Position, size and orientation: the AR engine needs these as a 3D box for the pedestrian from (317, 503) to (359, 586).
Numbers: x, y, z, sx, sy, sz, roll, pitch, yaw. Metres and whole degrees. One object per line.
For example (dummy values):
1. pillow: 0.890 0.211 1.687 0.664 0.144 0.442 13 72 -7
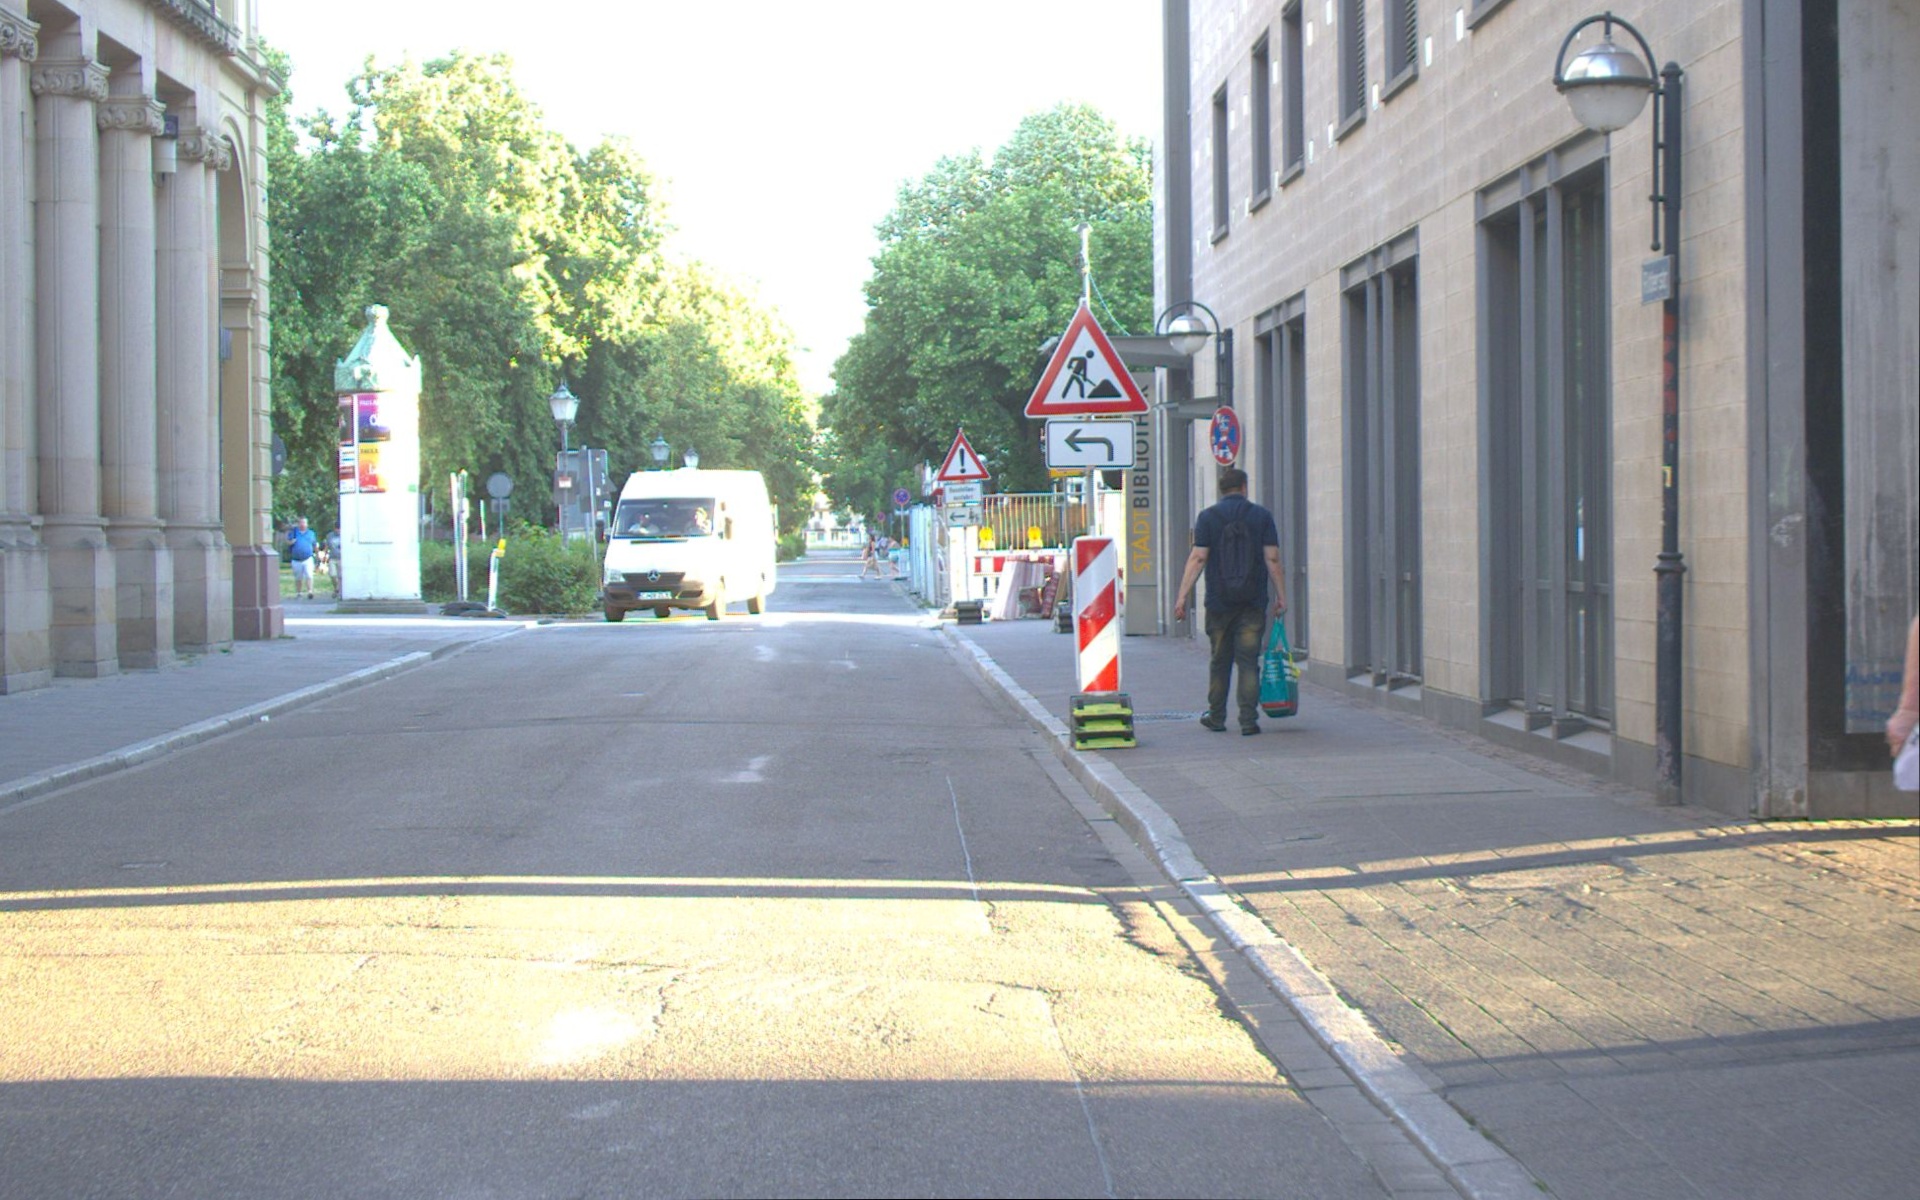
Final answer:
1. pedestrian: -13.600 -1.215 75.137 0.849 1.801 0.664 0 1 -15

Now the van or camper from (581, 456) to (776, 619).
1. van or camper: -4.631 -1.068 57.674 2.219 2.576 6.371 0 1 5

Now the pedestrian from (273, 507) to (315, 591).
1. pedestrian: -14.502 -1.112 74.817 0.849 1.801 0.664 0 1 -15

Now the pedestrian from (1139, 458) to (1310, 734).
1. pedestrian: 1.770 -0.030 23.151 1.000 1.797 0.882 -2 0 -2

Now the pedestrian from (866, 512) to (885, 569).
1. pedestrian: -3.003 -2.104 121.892 0.581 2.007 0.682 0 1 -10

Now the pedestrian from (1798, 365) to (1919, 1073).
1. pedestrian: 2.795 0.277 9.169 0.845 1.797 0.897 -3 1 3
